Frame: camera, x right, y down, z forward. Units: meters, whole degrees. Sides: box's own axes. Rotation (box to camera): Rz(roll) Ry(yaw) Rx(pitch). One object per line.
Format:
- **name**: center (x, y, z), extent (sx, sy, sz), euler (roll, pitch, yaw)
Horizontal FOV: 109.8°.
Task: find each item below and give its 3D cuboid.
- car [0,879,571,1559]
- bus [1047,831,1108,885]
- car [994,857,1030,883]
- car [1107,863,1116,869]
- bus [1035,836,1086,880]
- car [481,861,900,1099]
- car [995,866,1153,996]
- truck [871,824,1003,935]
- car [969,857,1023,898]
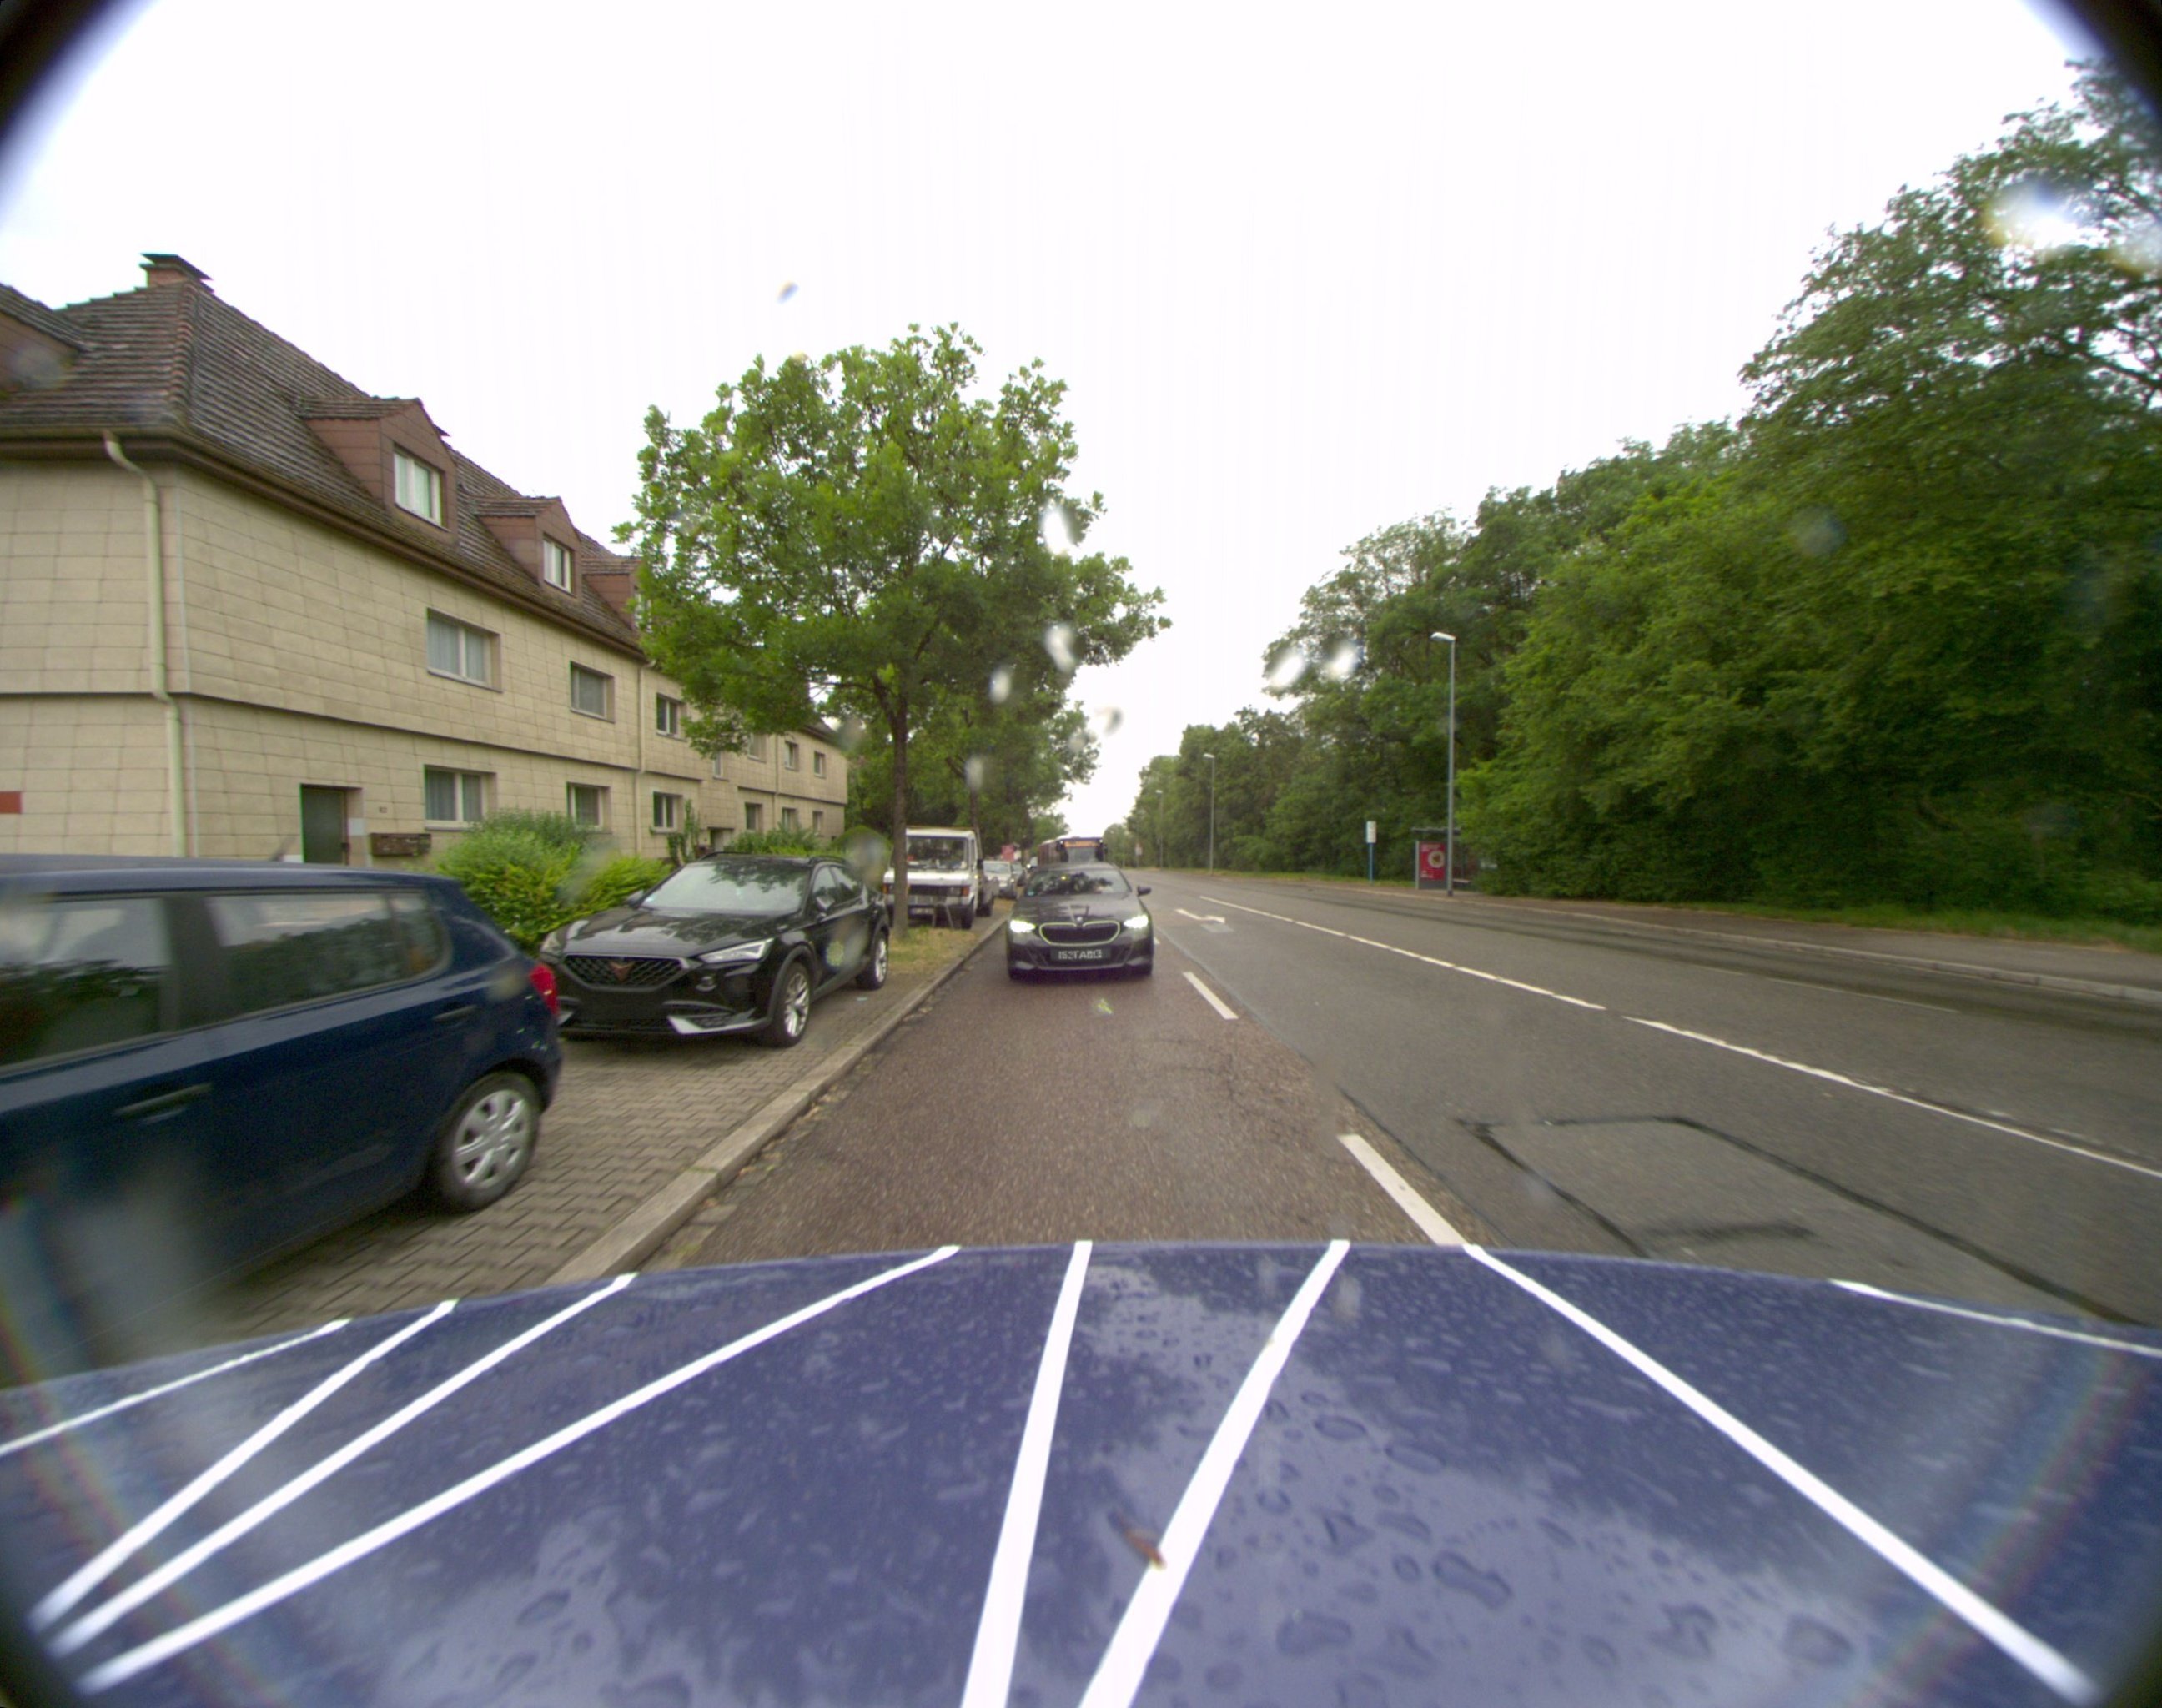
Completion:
- **car**: center (-3.283, 0.874, 1.712), extent (1.608, 1.463, 3.856), euler (2, 0, 0)
- **bus**: center (-0.409, 0.221, 47.041), extent (2.564, 2.942, 9.443), euler (-1, 0, -7)
- **car**: center (-3.892, 0.884, 43.514), extent (1.692, 1.381, 4.499), euler (1, 0, -1)
- **car**: center (7.374, 2.835, 182.110), extent (1.749, 1.423, 4.388), euler (2, 0, -2)
- **bus**: center (-1.642, 0.260, 55.886), extent (2.564, 2.942, 8.550), euler (-1, 0, -9)
- **car**: center (-3.079, 0.858, 7.116), extent (1.718, 1.490, 4.183), euler (2, 0, 0)
- **car**: center (-0.094, 0.952, 11.300), extent (1.855, 1.461, 4.483), euler (-1, 0, 0)
- **truck**: center (-3.272, 0.534, 18.794), extent (2.085, 2.208, 6.500), euler (2, 0, -1)
- **car**: center (-3.272, 0.908, 29.798), extent (1.605, 1.428, 4.022), euler (2, -1, 0)
